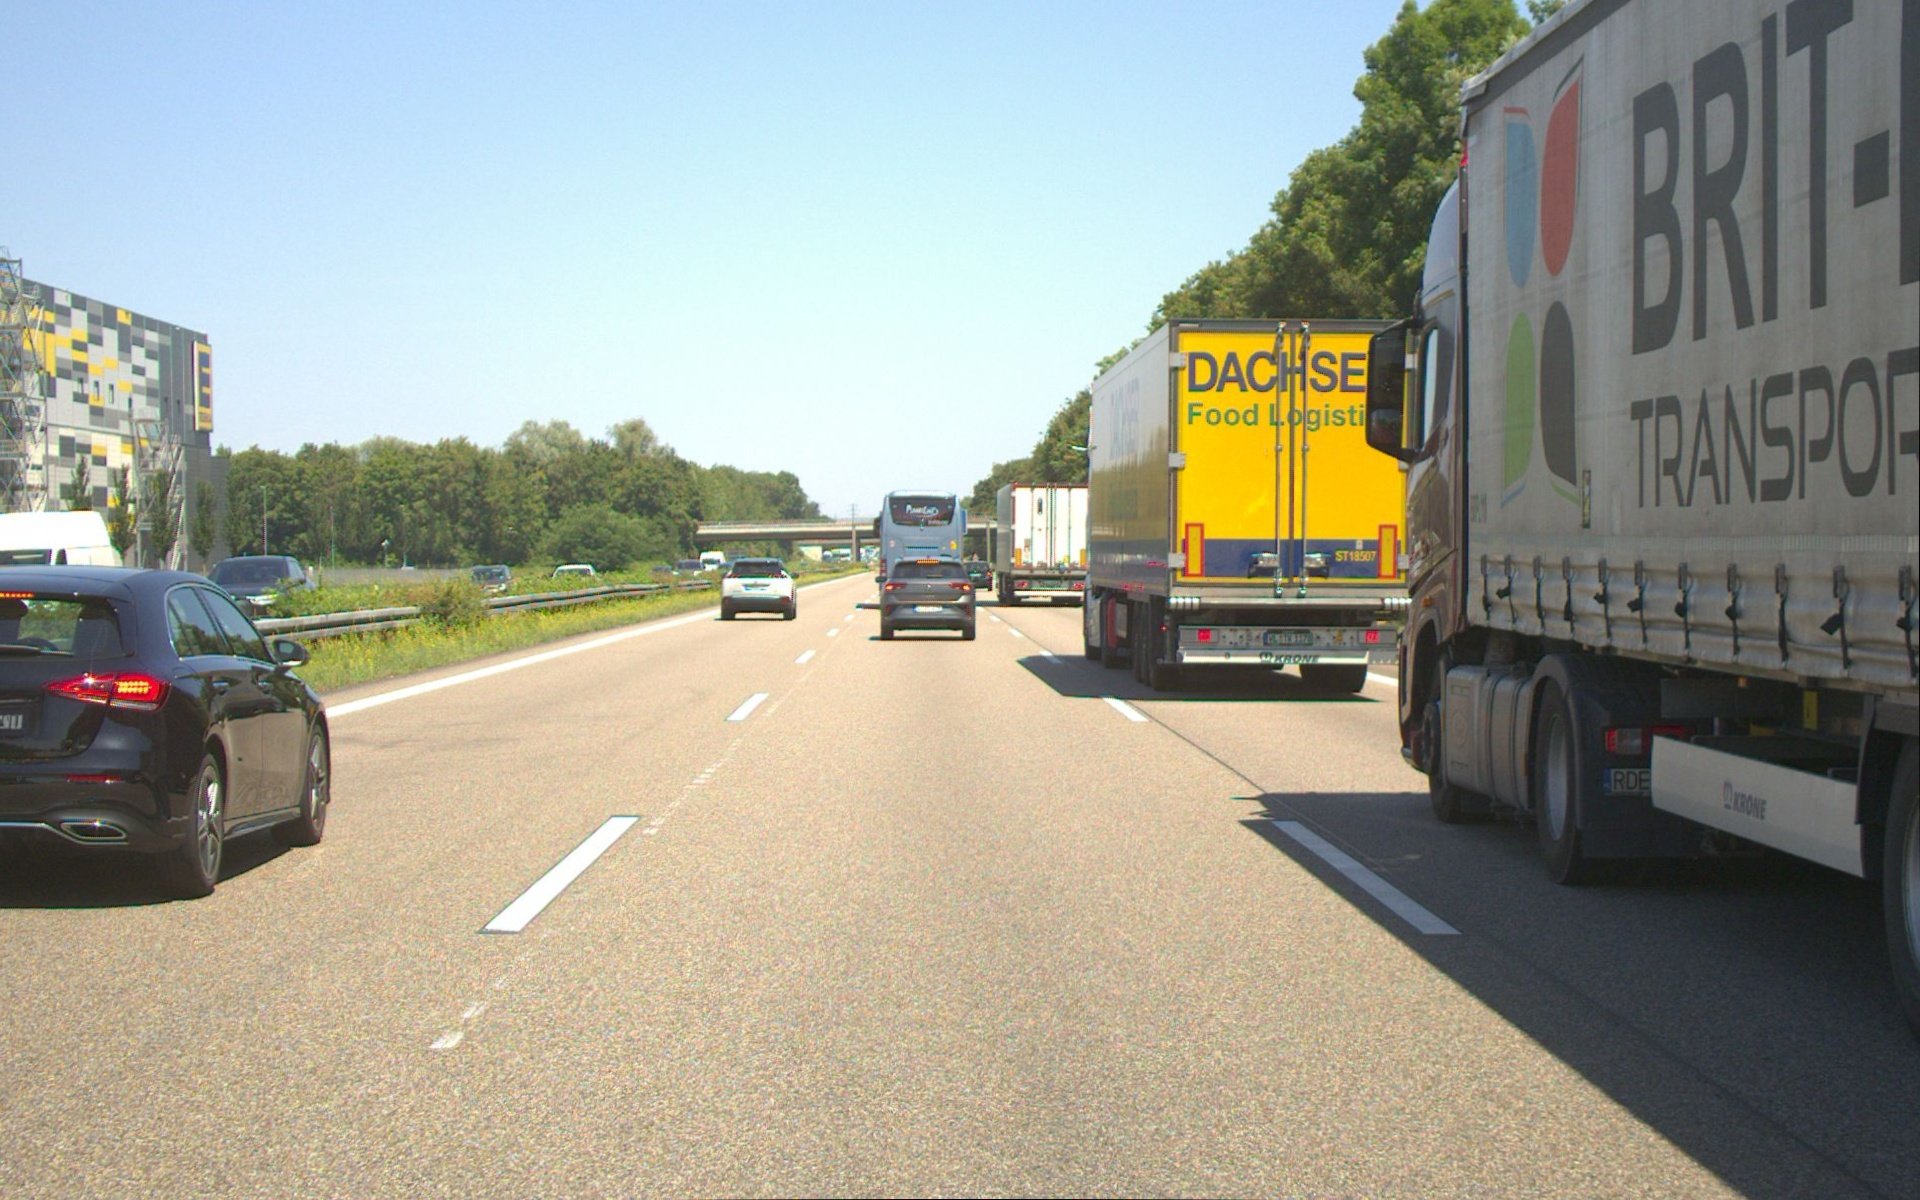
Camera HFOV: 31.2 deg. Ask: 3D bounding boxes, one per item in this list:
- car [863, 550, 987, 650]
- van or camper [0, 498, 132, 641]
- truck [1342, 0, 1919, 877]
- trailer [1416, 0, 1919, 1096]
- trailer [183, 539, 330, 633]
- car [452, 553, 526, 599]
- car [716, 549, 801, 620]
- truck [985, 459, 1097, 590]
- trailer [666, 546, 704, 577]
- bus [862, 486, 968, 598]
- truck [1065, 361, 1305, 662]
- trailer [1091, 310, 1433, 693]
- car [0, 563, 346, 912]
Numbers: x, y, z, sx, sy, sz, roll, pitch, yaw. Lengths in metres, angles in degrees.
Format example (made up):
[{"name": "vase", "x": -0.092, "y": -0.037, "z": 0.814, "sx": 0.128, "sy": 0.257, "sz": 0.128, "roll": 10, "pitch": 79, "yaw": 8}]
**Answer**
[{"name": "car", "x": -0.679, "y": -0.040, "z": 65.092, "sx": 2.216, "sy": 1.784, "sz": 5.393, "roll": -1, "pitch": 1, "yaw": -1}, {"name": "van or camper", "x": -17.618, "y": -0.542, "z": 65.119, "sx": 2.421, "sy": 2.525, "sz": 6.177, "roll": -2, "pitch": 0, "yaw": -2}, {"name": "truck", "x": 4.103, "y": -0.919, "z": 19.439, "sx": 3.087, "sy": 4.425, "sz": 6.053, "roll": 1, "pitch": 0, "yaw": -1}, {"name": "trailer", "x": 4.203, "y": -0.883, "z": 11.700, "sx": 3.106, "sy": 4.491, "sz": 14.897, "roll": 0, "pitch": 1, "yaw": -1}, {"name": "trailer", "x": -13.956, "y": -0.304, "z": 68.455, "sx": 1.993, "sy": 1.752, "sz": 4.857, "roll": -1, "pitch": 1, "yaw": -1}, {"name": "car", "x": -19.386, "y": -1.004, "z": 141.628, "sx": 2.316, "sy": 1.809, "sz": 5.351, "roll": -1, "pitch": 1, "yaw": 0}, {"name": "car", "x": -4.982, "y": -0.407, "z": 85.414, "sx": 1.993, "sy": 1.722, "sz": 4.131, "roll": 0, "pitch": 1, "yaw": -2}, {"name": "truck", "x": 2.603, "y": -2.470, "z": 114.032, "sx": 3.422, "sy": 4.112, "sz": 9.564, "roll": -1, "pitch": 1, "yaw": 0}, {"name": "trailer", "x": -16.092, "y": -2.256, "z": 201.069, "sx": 1.944, "sy": 1.783, "sz": 5.238, "roll": -1, "pitch": 1, "yaw": -2}, {"name": "bus", "x": -1.486, "y": -1.814, "z": 107.860, "sx": 3.062, "sy": 3.315, "sz": 8.275, "roll": -1, "pitch": 1, "yaw": -2}, {"name": "truck", "x": 3.096, "y": -1.229, "z": 49.066, "sx": 2.813, "sy": 3.993, "sz": 6.645, "roll": 0, "pitch": 1, "yaw": -1}, {"name": "trailer", "x": 3.325, "y": -1.113, "z": 41.162, "sx": 2.834, "sy": 3.940, "sz": 11.685, "roll": 0, "pitch": 1, "yaw": -1}, {"name": "car", "x": -4.103, "y": 0.545, "z": 16.080, "sx": 1.792, "sy": 1.407, "sz": 4.053, "roll": 0, "pitch": 1, "yaw": -1}]
